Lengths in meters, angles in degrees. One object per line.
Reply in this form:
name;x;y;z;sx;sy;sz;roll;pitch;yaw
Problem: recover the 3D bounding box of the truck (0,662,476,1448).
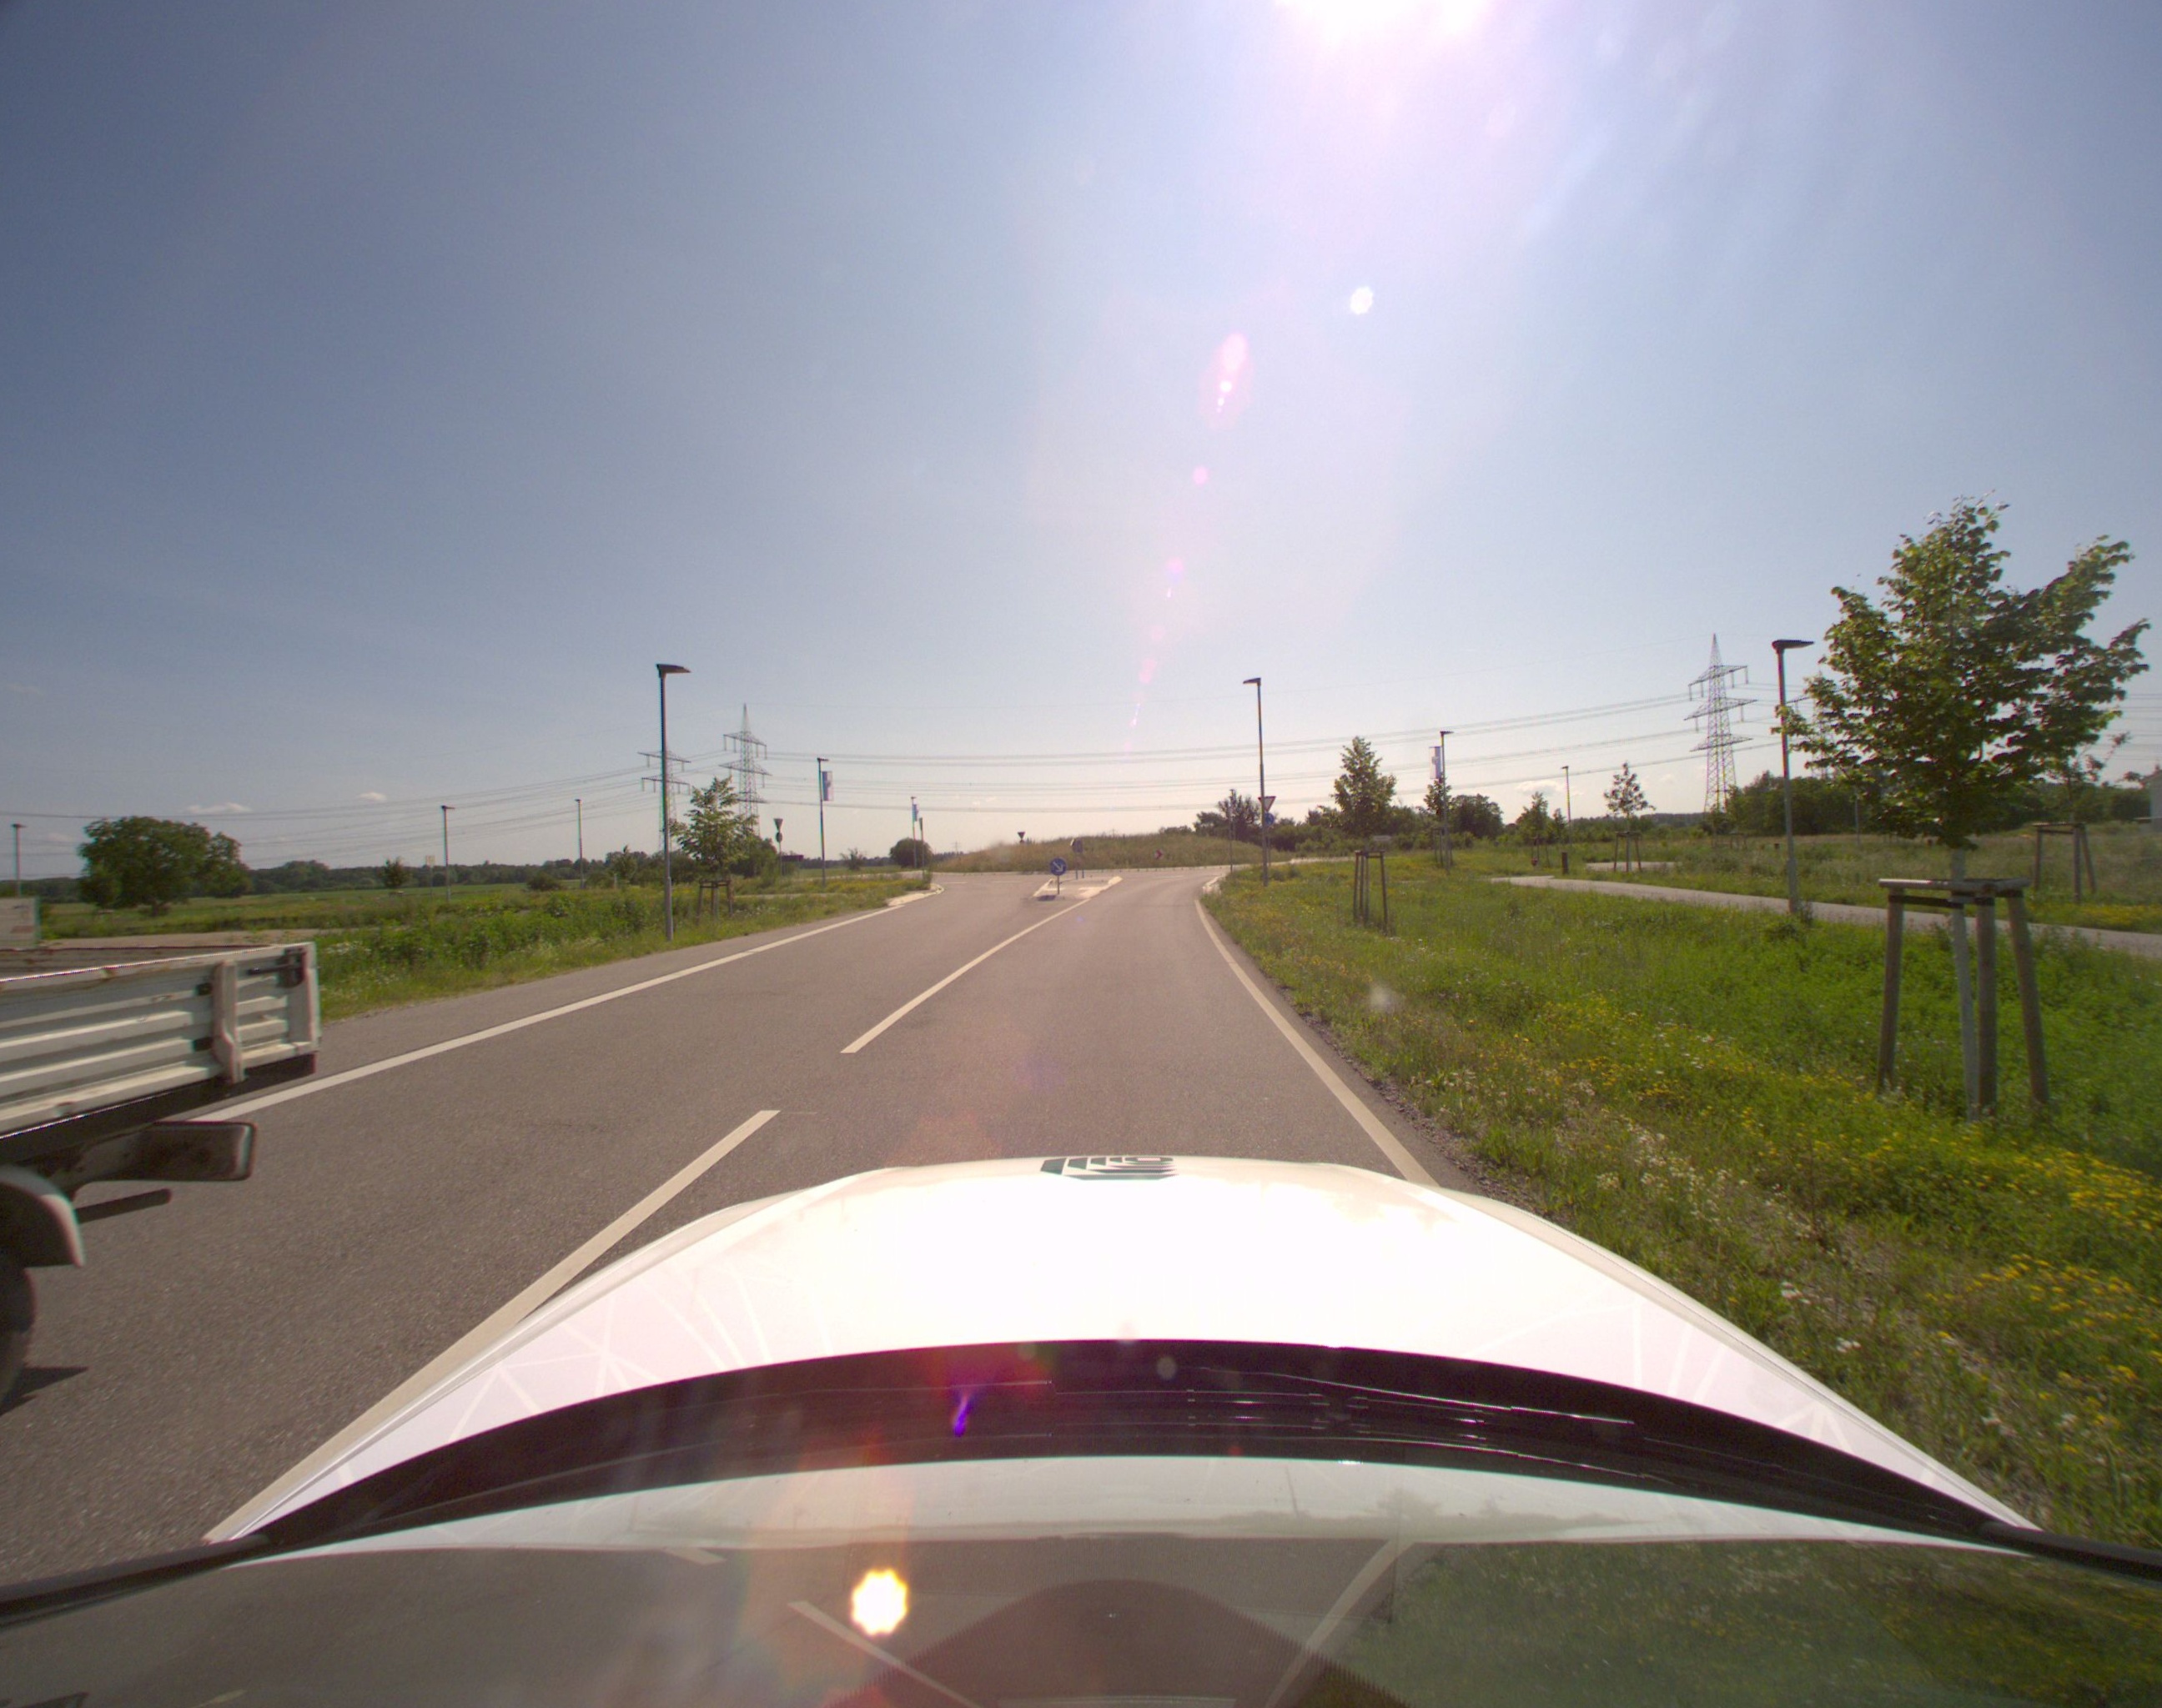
truck;-3.713;0.525;0.823;1.945;1.984;5.643;-1;0;0
